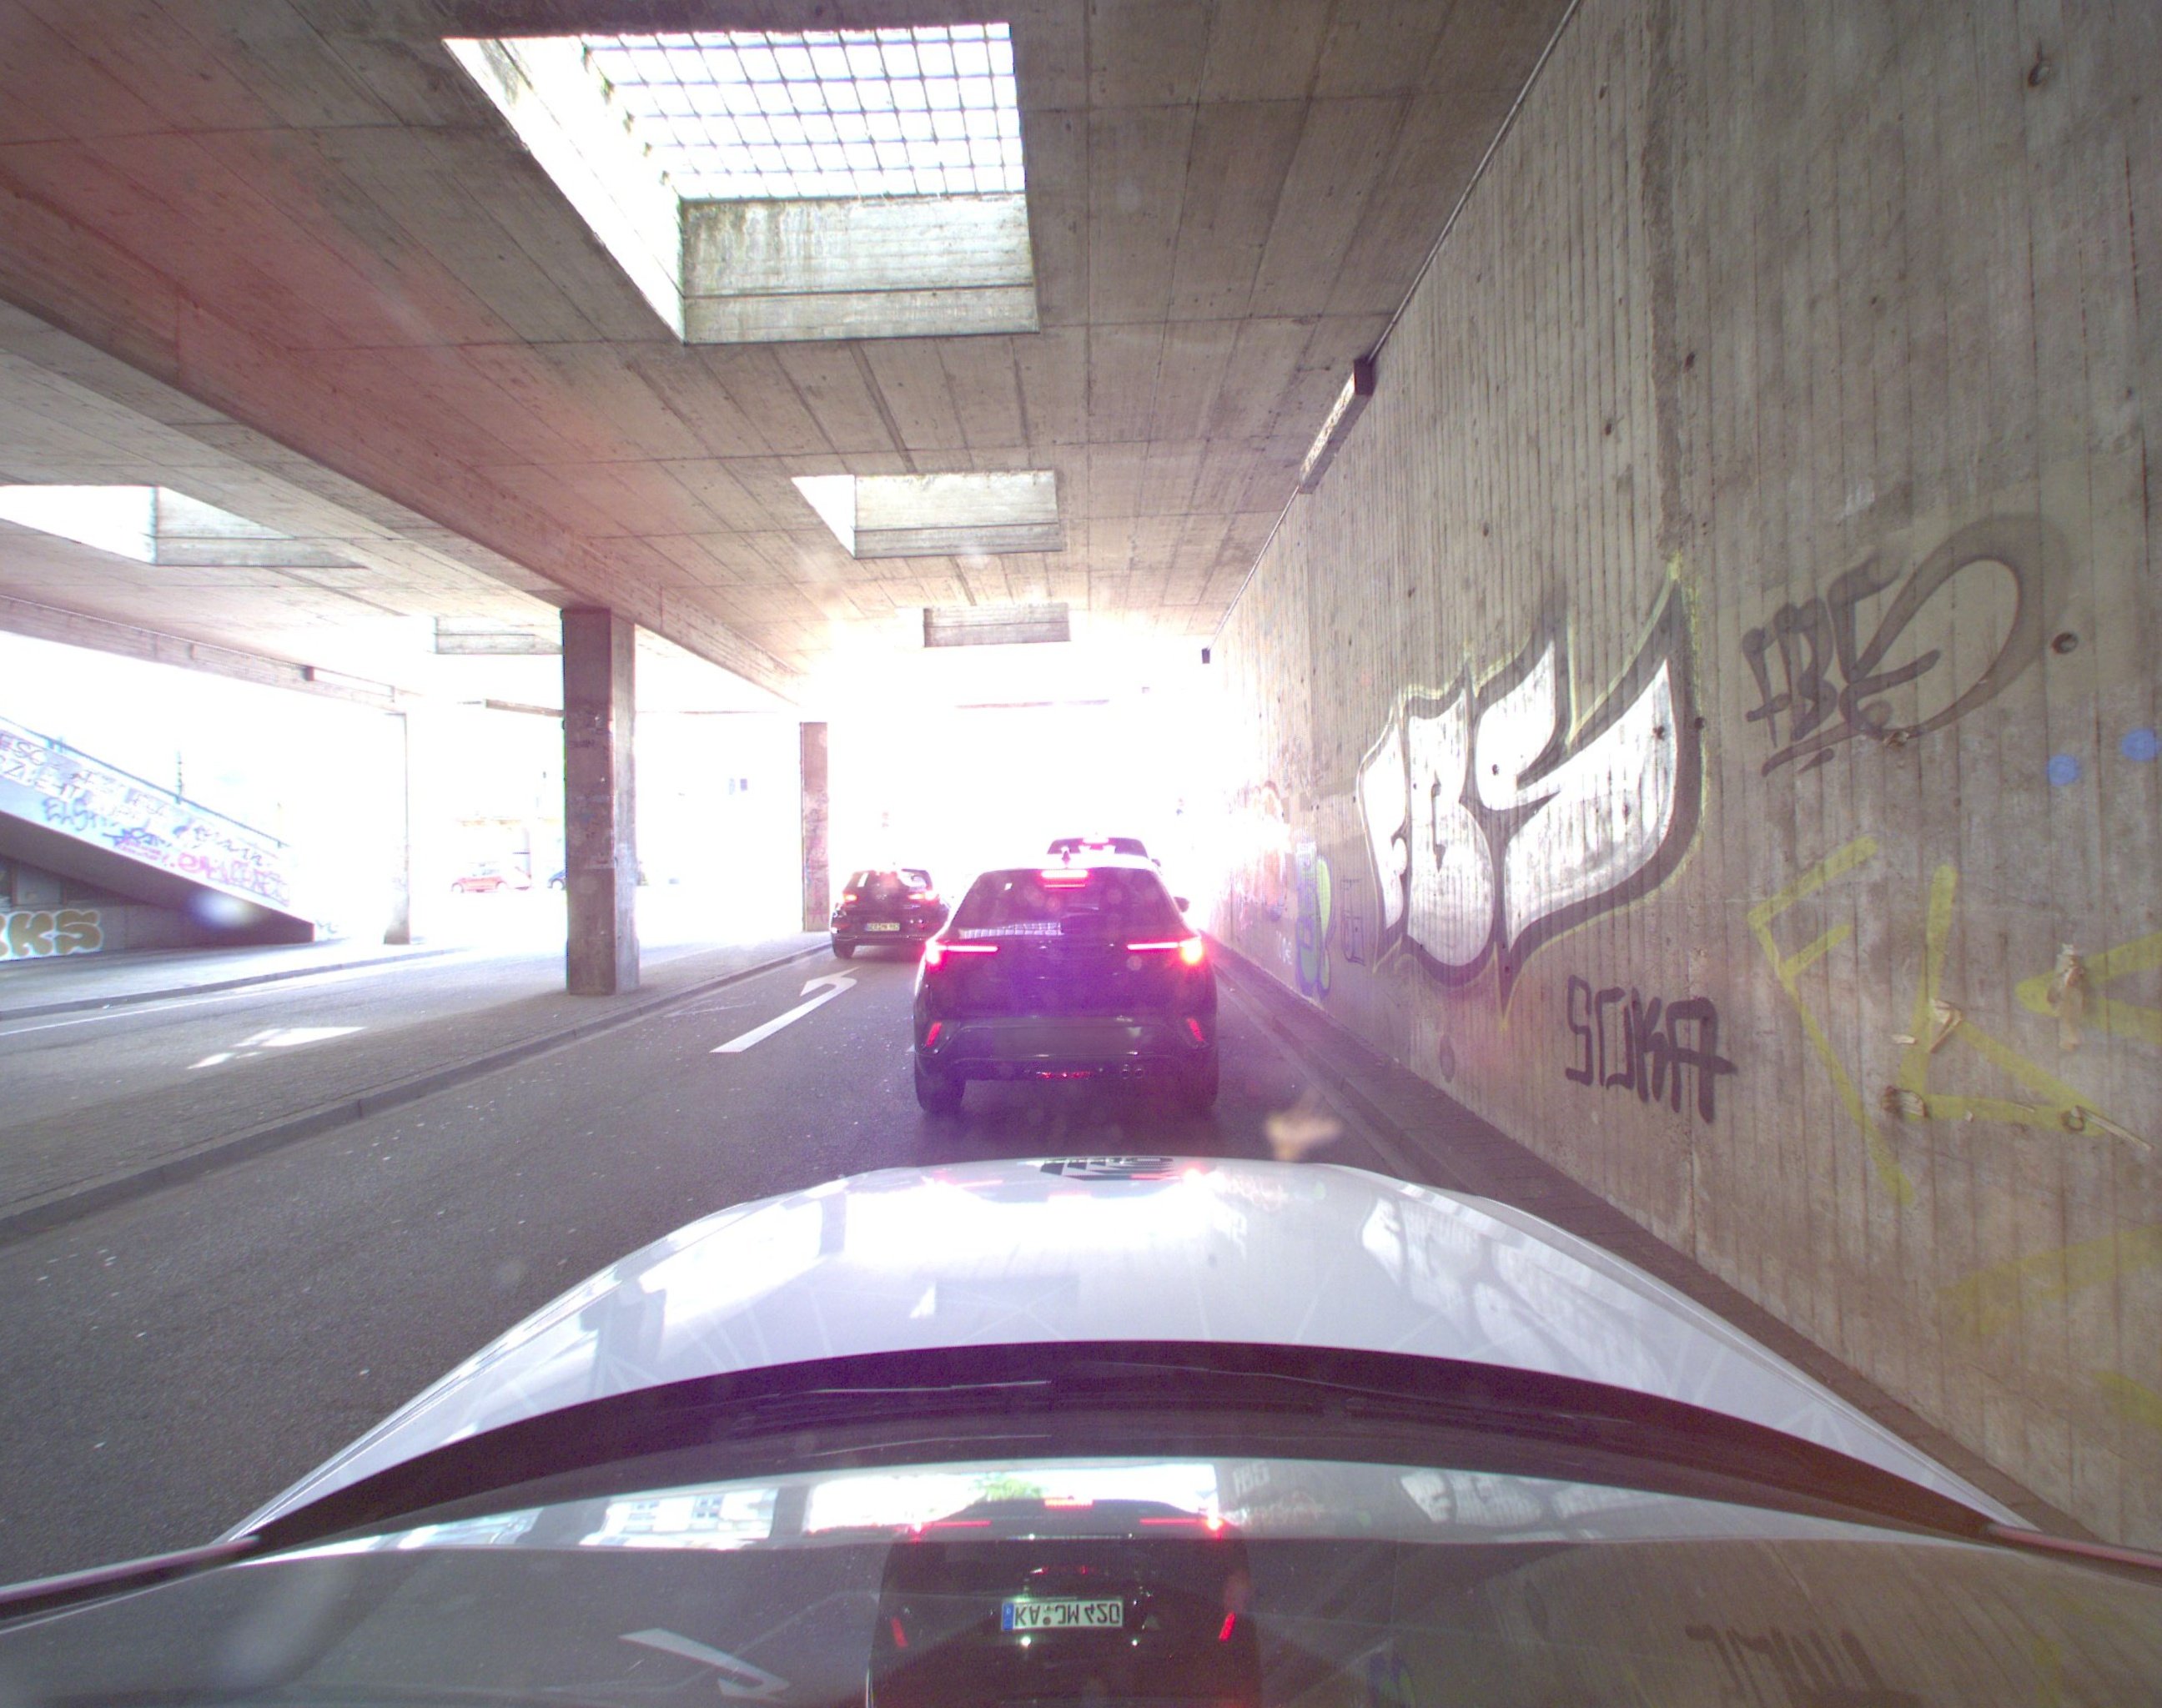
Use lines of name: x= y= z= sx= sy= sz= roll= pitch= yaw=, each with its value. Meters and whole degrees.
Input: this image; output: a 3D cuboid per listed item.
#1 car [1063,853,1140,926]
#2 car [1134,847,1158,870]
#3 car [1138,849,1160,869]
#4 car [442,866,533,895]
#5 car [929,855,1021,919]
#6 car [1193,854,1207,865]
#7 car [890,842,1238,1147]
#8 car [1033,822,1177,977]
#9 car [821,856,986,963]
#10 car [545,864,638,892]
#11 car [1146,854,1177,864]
car: x=0.496 y=0.759 z=19.370 sx=1.603 sy=1.513 sz=4.055 roll=-1 pitch=0 yaw=2
car: x=4.969 y=0.370 z=62.239 sx=1.745 sy=1.667 sz=3.950 roll=0 pitch=-1 yaw=6
car: x=5.756 y=0.413 z=68.343 sx=1.745 sy=1.667 sz=3.950 roll=0 pitch=-1 yaw=6
car: x=-32.927 y=1.448 z=45.254 sx=3.748 sy=1.475 sz=1.749 roll=-1 pitch=-1 yaw=0
car: x=-2.656 y=0.794 z=21.199 sx=1.755 sy=1.480 sz=3.846 roll=-1 pitch=0 yaw=2
car: x=18.612 y=0.789 z=127.051 sx=1.742 sy=1.667 sz=3.958 roll=-1 pitch=-1 yaw=13
car: x=-0.023 y=0.725 z=6.212 sx=1.755 sy=1.531 sz=4.091 roll=-1 pitch=0 yaw=2
car: x=0.361 y=0.565 z=12.151 sx=1.755 sy=1.883 sz=4.148 roll=-1 pitch=0 yaw=2
car: x=-2.745 y=0.798 z=13.471 sx=1.755 sy=1.480 sz=3.846 roll=-1 pitch=0 yaw=2
car: x=-27.171 y=1.324 z=45.276 sx=4.096 sy=1.475 sz=1.737 roll=-1 pitch=-1 yaw=0
car: x=13.185 y=0.842 z=133.821 sx=4.819 sy=1.667 sz=1.810 roll=0 pitch=-1 yaw=-23
